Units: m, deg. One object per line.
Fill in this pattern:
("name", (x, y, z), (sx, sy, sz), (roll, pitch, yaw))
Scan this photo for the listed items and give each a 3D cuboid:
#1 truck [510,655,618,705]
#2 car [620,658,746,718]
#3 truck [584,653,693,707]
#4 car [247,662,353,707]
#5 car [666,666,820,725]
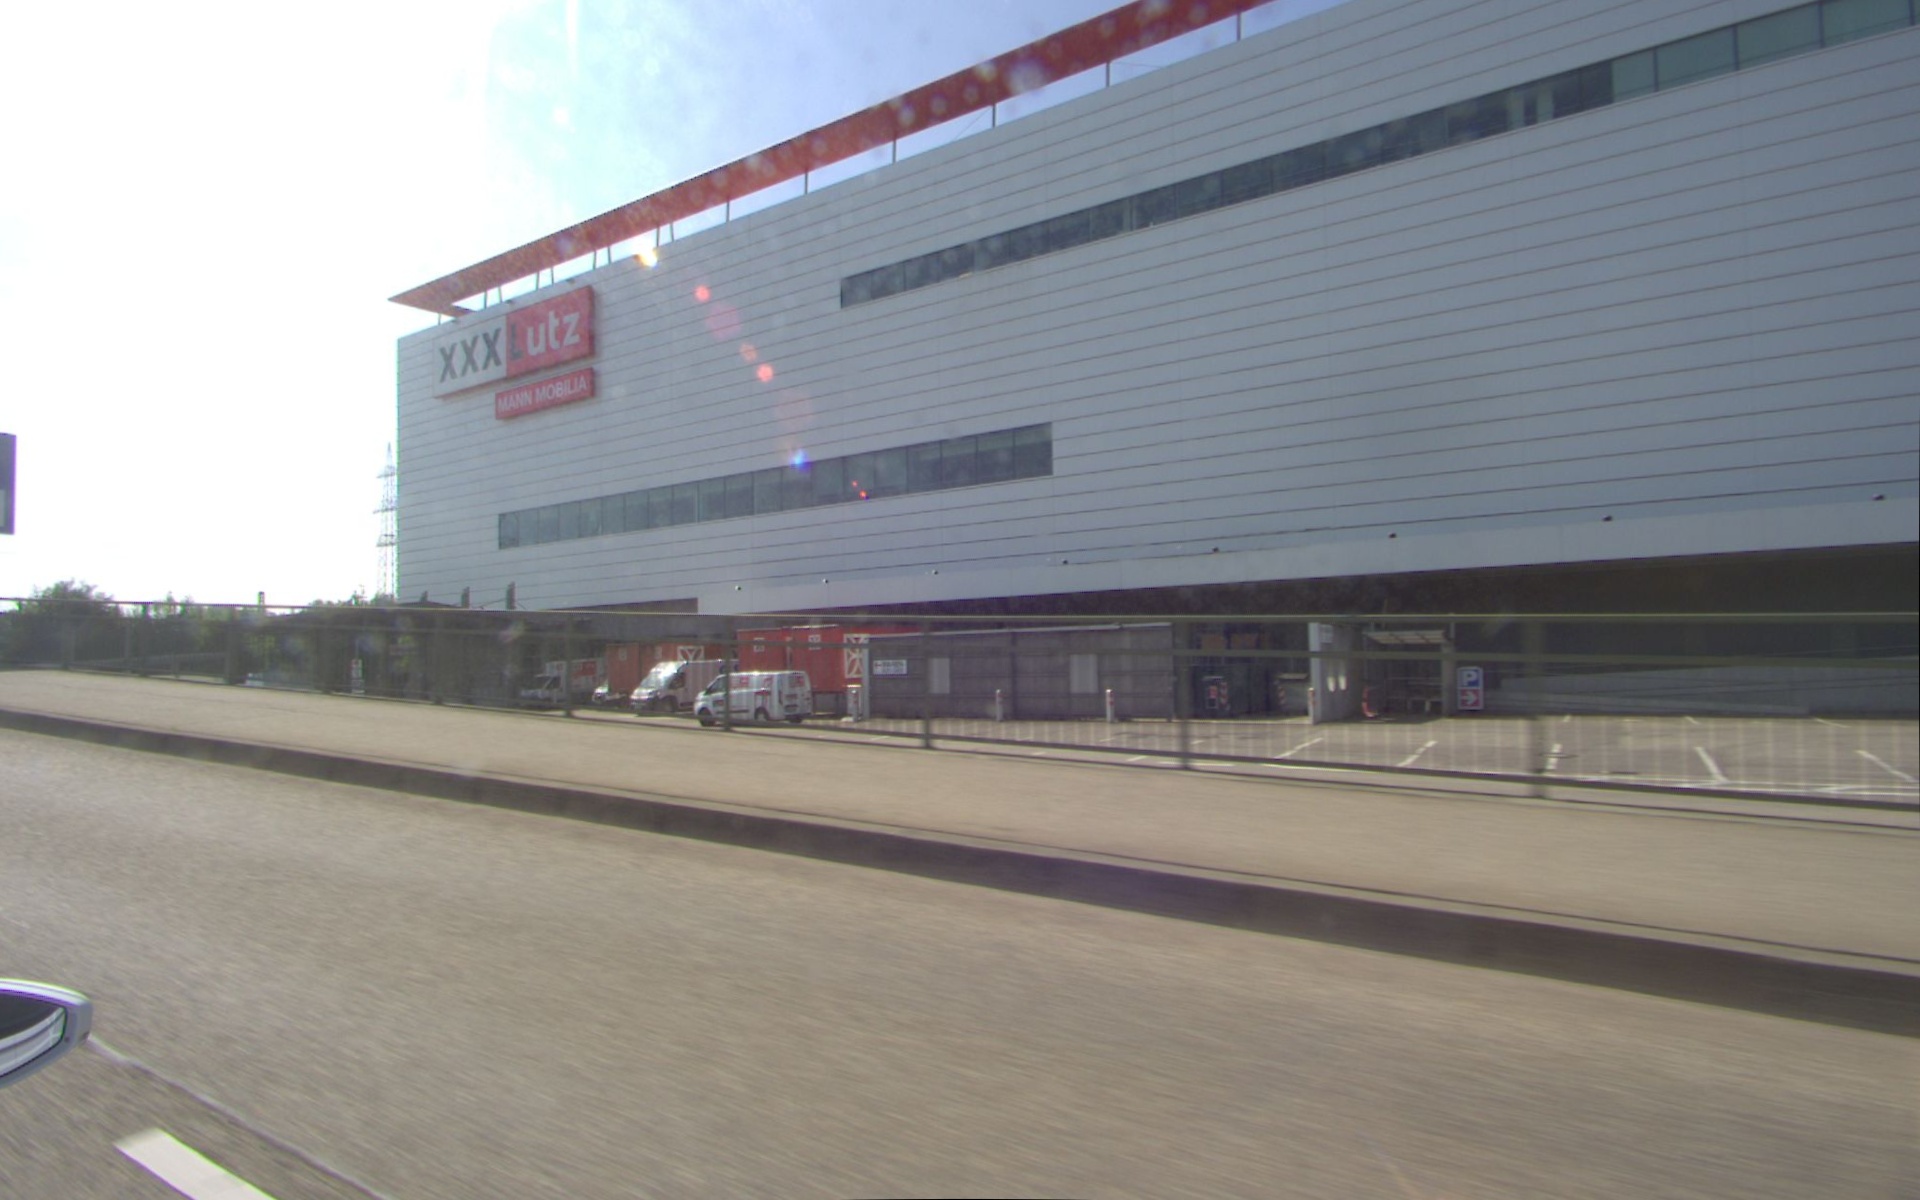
("truck", (-24.290, 4.874, 61.671), (2.104, 2.962, 5.979), (-3, -4, 35))
("car", (-13.041, 4.099, 47.629), (2.102, 2.652, 5.984), (-2, -4, 32))
("truck", (-18.508, 4.583, 57.908), (2.104, 2.962, 5.979), (-3, -4, 35))
("car", (-45.680, 5.797, 69.517), (2.095, 2.962, 6.004), (-2, -4, 20))
("car", (-8.265, 3.558, 37.839), (5.930, 2.030, 2.121), (-3, -2, 33))
